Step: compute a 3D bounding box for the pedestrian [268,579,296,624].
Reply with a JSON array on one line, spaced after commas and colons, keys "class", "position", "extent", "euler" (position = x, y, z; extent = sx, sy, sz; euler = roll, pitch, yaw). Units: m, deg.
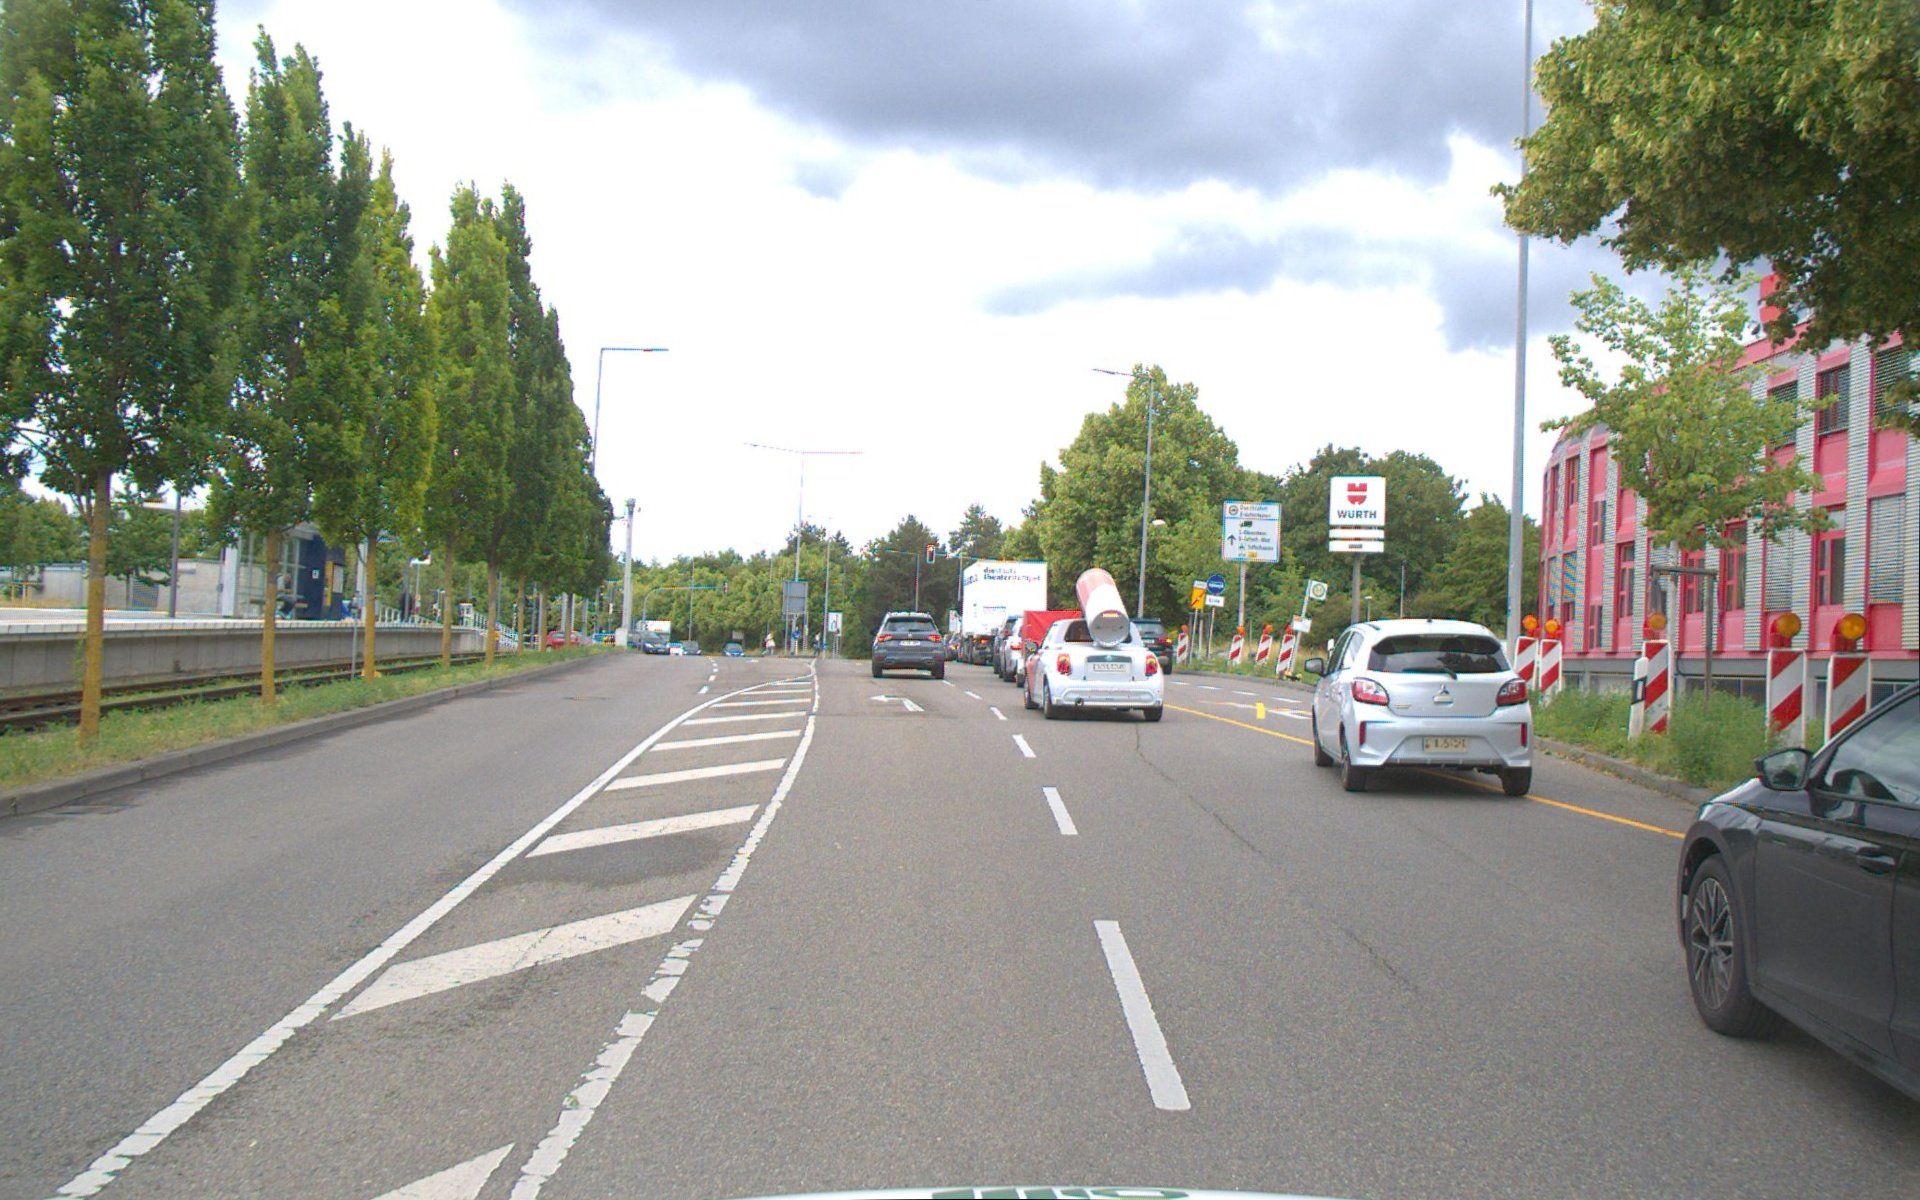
[{"class": "pedestrian", "position": [-19.462, 0.040, 47.482], "extent": [0.599, 1.291, 0.658], "euler": [1, 0, -10]}]

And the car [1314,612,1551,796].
[{"class": "car", "position": [4.317, 0.878, 15.593], "extent": [1.588, 1.483, 3.691], "euler": [1, 0, 7]}]

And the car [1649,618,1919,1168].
[{"class": "car", "position": [3.487, 0.802, 4.461], "extent": [1.797, 1.457, 4.281], "euler": [0, 0, 5]}]

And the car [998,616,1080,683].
[{"class": "car", "position": [1.828, 1.166, 39.493], "extent": [1.637, 1.473, 4.488], "euler": [1, -1, -1]}]

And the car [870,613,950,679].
[{"class": "car", "position": [-1.261, 1.078, 40.129], "extent": [1.665, 1.512, 3.995], "euler": [1, -1, -5]}]

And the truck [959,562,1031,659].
[{"class": "truck", "position": [1.380, 0.421, 67.033], "extent": [2.520, 3.770, 4.103], "euler": [1, 0, -4]}]

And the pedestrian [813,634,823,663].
[{"class": "pedestrian", "position": [-8.369, 2.851, 97.286], "extent": [0.575, 1.650, 0.422], "euler": [1, 0, -6]}]

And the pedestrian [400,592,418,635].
[{"class": "pedestrian", "position": [-24.119, 0.590, 72.394], "extent": [0.561, 1.860, 0.792], "euler": [2, -3, -8]}]

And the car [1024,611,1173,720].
[{"class": "car", "position": [1.996, 0.950, 24.801], "extent": [1.684, 1.483, 3.693], "euler": [1, -1, -4]}]

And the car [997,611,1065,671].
[{"class": "car", "position": [1.952, 1.142, 46.625], "extent": [1.806, 1.589, 4.404], "euler": [1, -1, 1]}]

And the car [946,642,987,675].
[{"class": "car", "position": [0.282, 2.664, 76.315], "extent": [1.775, 1.378, 4.116], "euler": [0, 0, -2]}]

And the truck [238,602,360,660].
[{"class": "truck", "position": [-44.647, 2.075, 111.906], "extent": [7.092, 3.661, 2.691], "euler": [1, 0, -1]}]

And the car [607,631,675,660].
[{"class": "car", "position": [-19.341, 2.765, 100.325], "extent": [3.616, 1.601, 1.732], "euler": [2, -3, 7]}]

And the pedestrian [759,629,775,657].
[{"class": "pedestrian", "position": [-11.084, 2.447, 94.957], "extent": [0.847, 1.588, 0.517], "euler": [1, 0, -6]}]

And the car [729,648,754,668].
[{"class": "car", "position": [-19.506, 5.193, 147.754], "extent": [1.878, 1.604, 3.997], "euler": [0, 0, -3]}]

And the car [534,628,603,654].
[{"class": "car", "position": [-24.994, 2.643, 105.664], "extent": [3.989, 1.514, 1.708], "euler": [1, -3, 20]}]

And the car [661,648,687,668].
[{"class": "car", "position": [-25.360, 5.154, 146.638], "extent": [1.740, 1.534, 3.745], "euler": [-2, 0, -2]}]

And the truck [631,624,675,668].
[{"class": "truck", "position": [-28.837, 4.237, 155.064], "extent": [2.619, 3.713, 9.454], "euler": [3, -1, -18]}]

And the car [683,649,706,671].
[{"class": "car", "position": [-24.679, 5.614, 153.925], "extent": [1.879, 1.759, 3.993], "euler": [2, -6, -6]}]

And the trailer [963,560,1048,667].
[{"class": "trailer", "position": [1.640, 0.447, 63.066], "extent": [2.515, 3.770, 7.758], "euler": [1, 0, -4]}]

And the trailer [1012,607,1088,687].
[{"class": "trailer", "position": [1.899, 0.997, 35.585], "extent": [1.380, 1.622, 3.302], "euler": [1, -1, -1]}]
